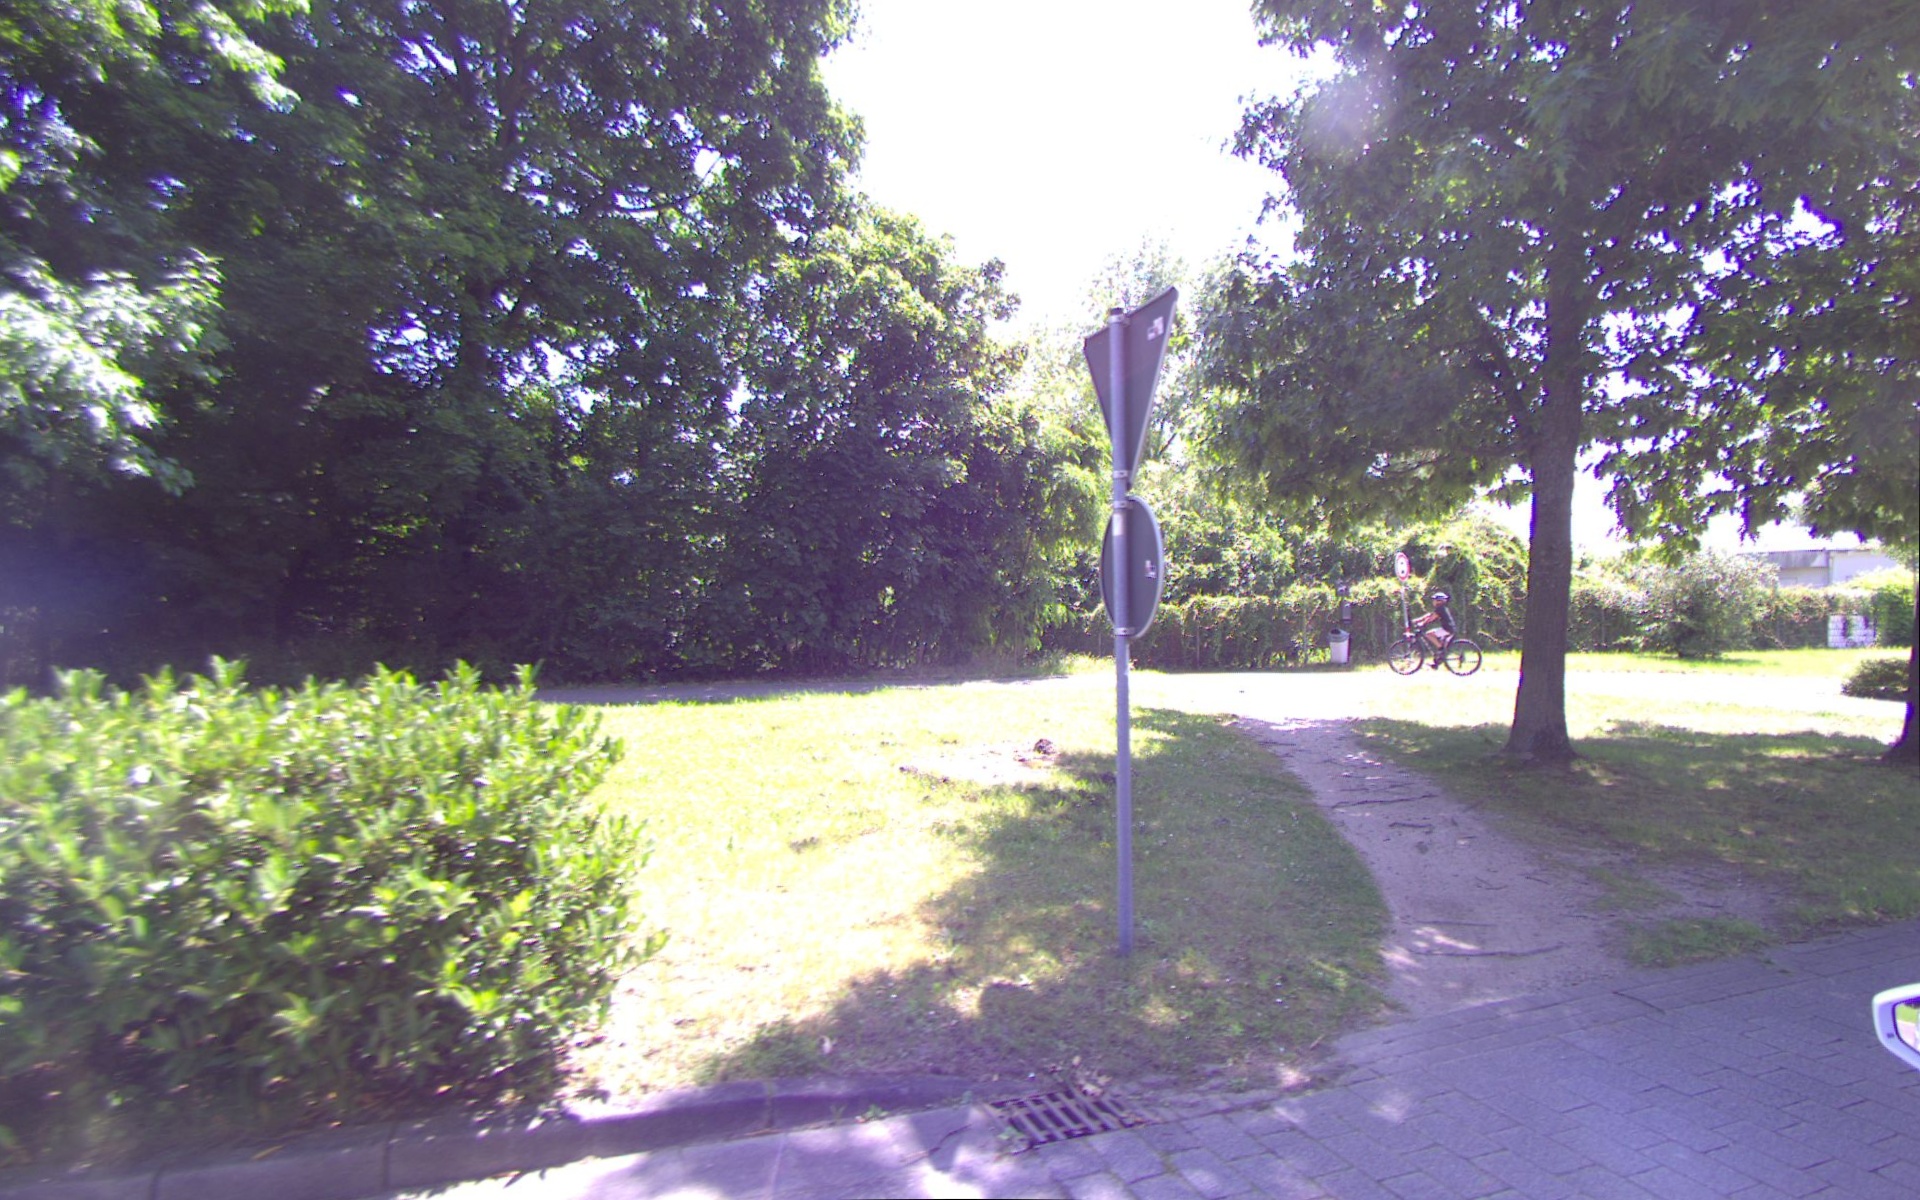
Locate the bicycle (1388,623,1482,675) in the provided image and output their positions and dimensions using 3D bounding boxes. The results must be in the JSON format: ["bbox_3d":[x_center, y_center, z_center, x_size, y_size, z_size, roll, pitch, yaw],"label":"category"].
[{"bbox_3d":[9.010,0.922,19.106,1.589,0.941,0.598,0,0,25],"label":"bicycle"}]

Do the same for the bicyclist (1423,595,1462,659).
[{"bbox_3d":[9.142,0.507,19.046,0.636,1.180,0.598,0,0,24],"label":"bicyclist"}]
